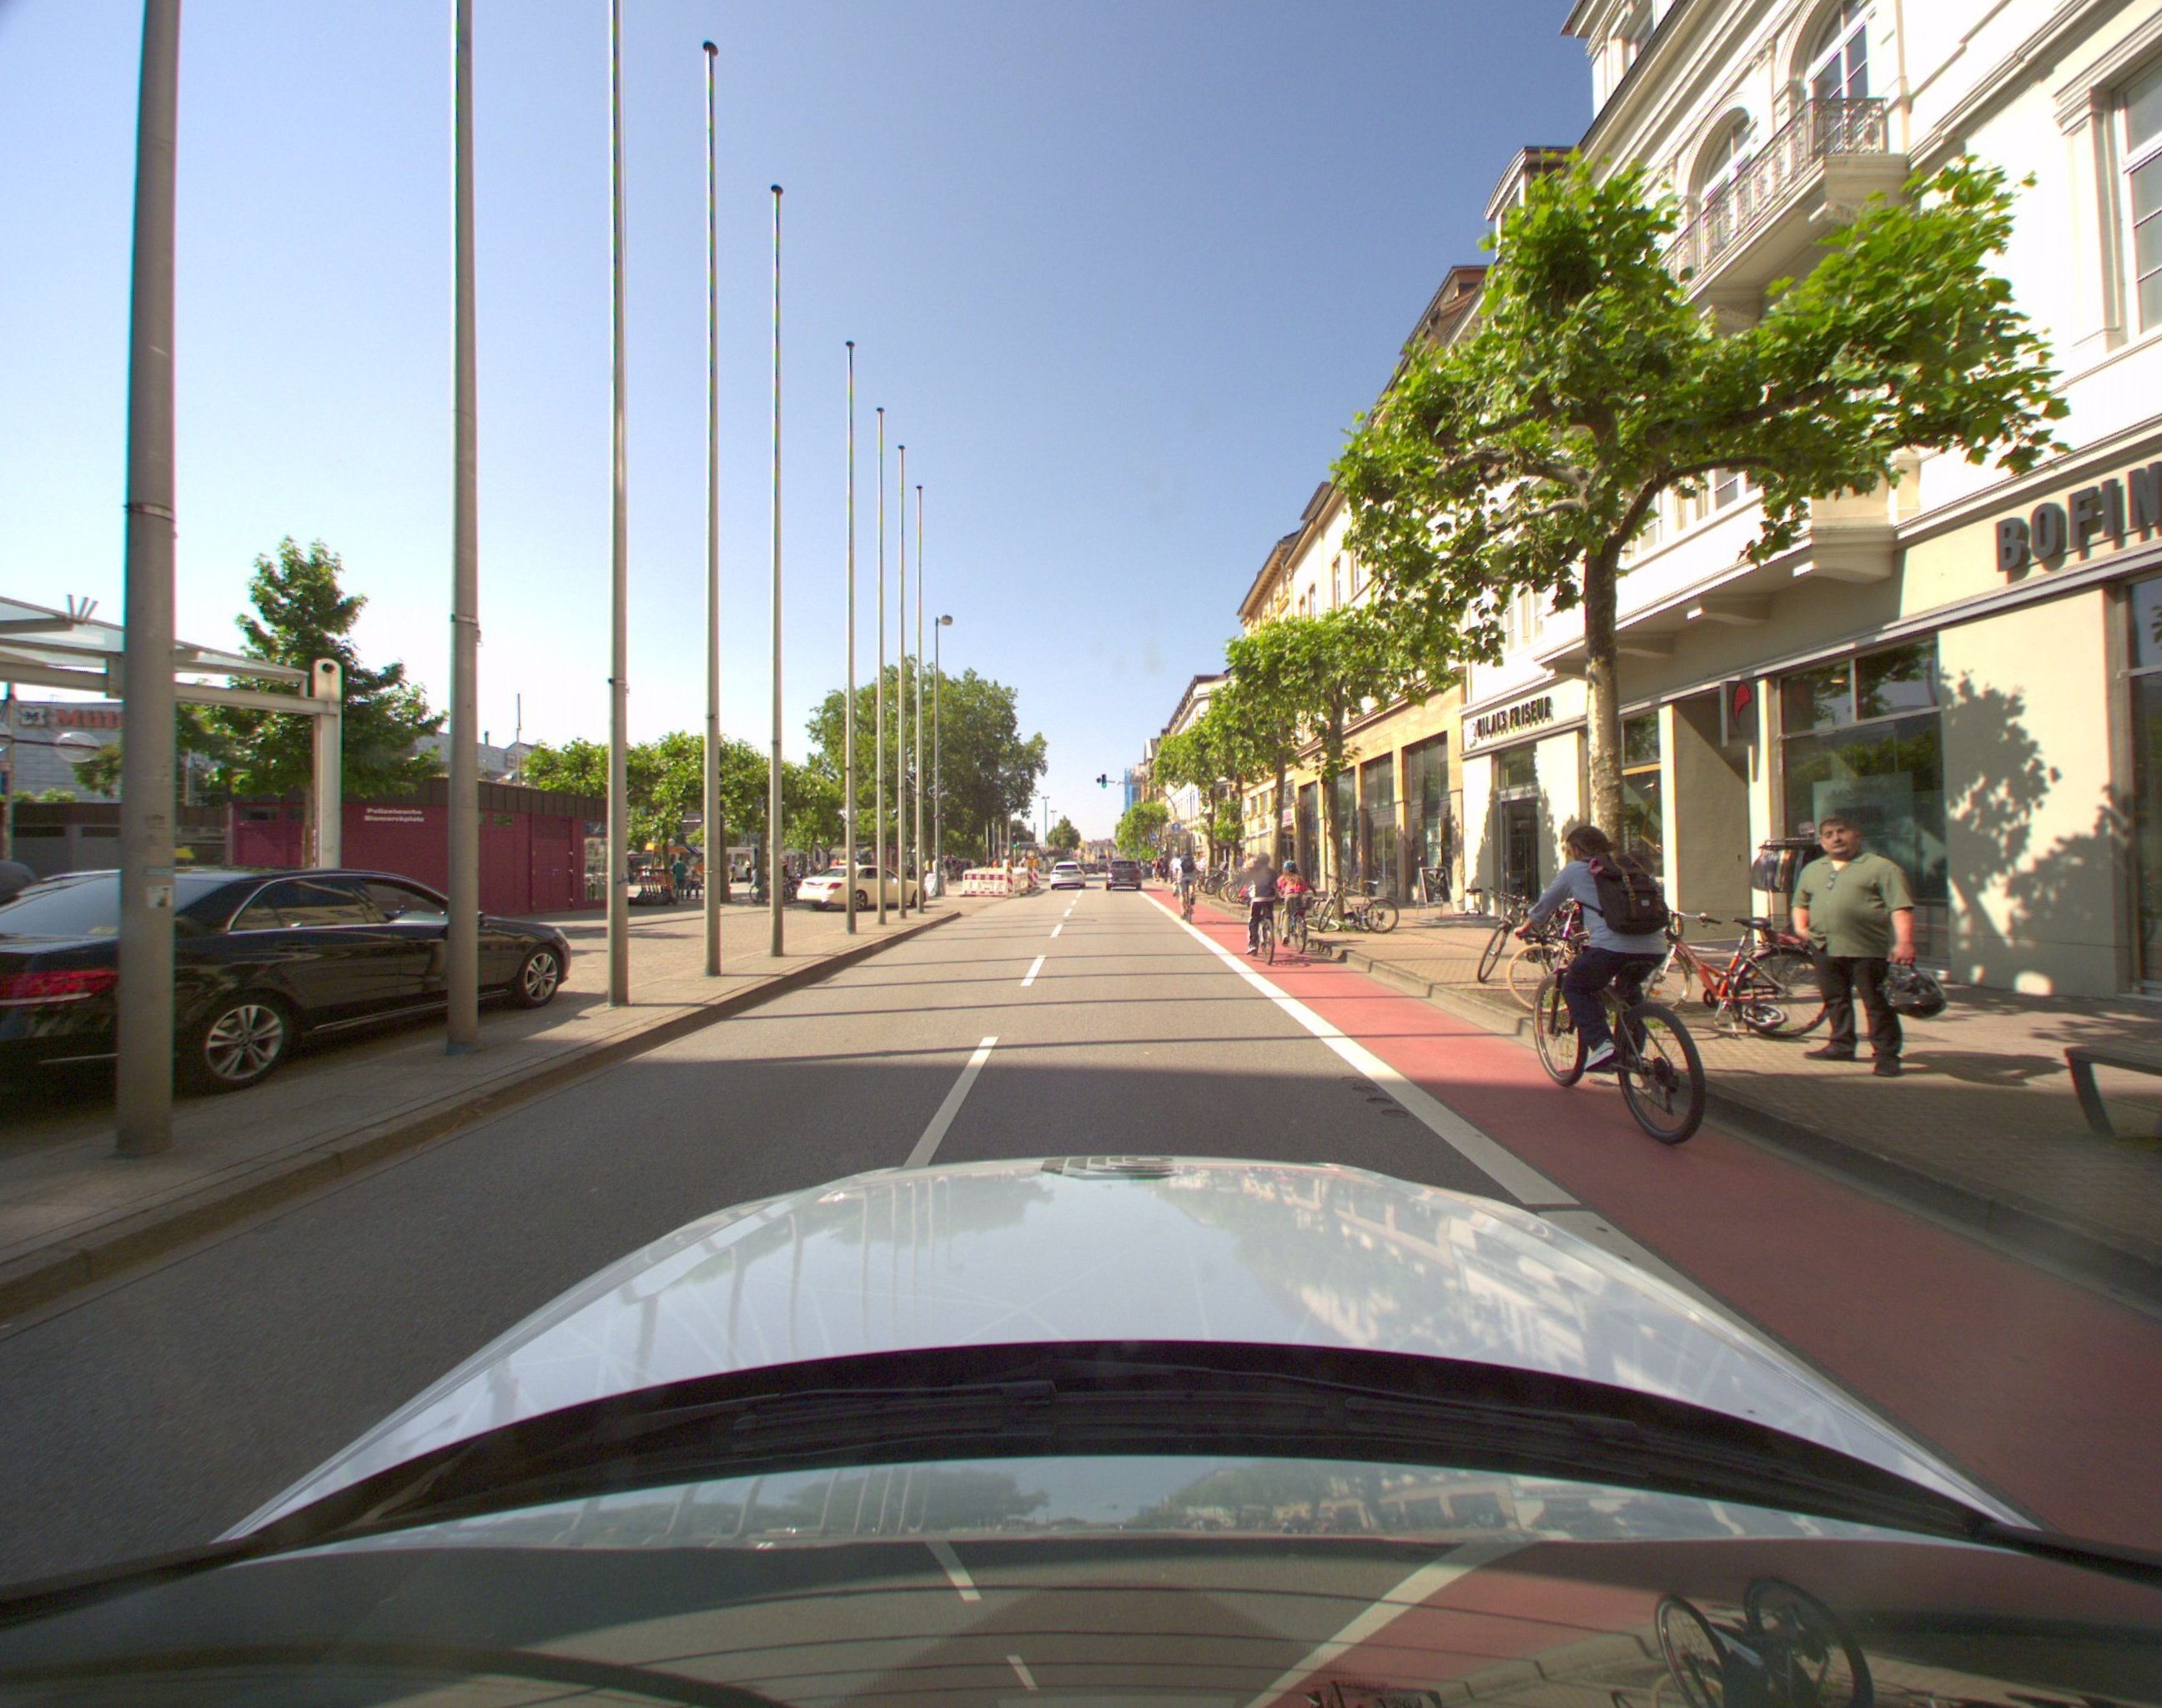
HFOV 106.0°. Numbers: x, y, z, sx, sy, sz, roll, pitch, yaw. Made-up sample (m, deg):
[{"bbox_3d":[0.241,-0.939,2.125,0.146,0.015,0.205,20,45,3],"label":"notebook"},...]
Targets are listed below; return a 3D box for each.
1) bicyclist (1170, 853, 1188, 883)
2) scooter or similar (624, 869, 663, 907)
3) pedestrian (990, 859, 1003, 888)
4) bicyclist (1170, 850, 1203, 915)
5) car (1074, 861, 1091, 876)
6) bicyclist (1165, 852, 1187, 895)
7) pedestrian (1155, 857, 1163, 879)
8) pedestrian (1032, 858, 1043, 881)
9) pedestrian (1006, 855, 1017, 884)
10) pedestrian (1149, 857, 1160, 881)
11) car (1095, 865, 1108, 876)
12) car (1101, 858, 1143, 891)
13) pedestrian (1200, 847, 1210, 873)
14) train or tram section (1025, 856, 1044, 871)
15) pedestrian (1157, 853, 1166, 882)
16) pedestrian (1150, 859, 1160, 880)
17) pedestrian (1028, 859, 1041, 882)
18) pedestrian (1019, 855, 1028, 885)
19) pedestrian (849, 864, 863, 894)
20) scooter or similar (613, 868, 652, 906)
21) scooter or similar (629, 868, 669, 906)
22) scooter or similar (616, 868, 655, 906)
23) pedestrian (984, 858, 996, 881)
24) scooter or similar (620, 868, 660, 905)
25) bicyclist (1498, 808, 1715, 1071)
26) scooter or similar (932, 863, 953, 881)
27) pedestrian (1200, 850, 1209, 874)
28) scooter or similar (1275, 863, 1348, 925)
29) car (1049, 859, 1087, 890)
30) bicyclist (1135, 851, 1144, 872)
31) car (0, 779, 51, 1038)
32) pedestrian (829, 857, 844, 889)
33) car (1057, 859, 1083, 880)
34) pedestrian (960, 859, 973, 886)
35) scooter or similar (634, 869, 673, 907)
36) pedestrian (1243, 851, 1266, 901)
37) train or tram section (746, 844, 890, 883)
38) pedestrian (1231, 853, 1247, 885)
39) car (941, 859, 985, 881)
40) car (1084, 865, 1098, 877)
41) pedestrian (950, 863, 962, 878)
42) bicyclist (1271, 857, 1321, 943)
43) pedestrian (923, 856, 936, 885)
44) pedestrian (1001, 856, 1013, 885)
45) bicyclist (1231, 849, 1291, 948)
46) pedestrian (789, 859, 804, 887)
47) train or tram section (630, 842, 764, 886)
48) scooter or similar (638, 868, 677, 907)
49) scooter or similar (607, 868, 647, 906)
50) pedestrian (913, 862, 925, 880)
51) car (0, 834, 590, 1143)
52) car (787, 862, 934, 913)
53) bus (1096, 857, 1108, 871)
[{"bbox_3d":[5.886,0.840,48.869,0.577,1.797,0.848,-2,0,-34],"label":"bicyclist"},{"bbox_3d":[-14.448,1.095,26.926,0.231,1.214,1.310,0,-1,21],"label":"scooter or similar"},{"bbox_3d":[-5.157,1.189,49.578,0.543,1.718,0.600,2,-2,-30],"label":"pedestrian"},{"bbox_3d":[2.502,0.669,19.393,0.628,1.481,1.198,0,-1,0],"label":"bicyclist"},{"bbox_3d":[0.189,1.554,89.208,1.839,1.560,4.000,-1,-1,0],"label":"car"},{"bbox_3d":[3.696,0.749,31.819,0.771,1.635,0.851,-1,-1,1],"label":"bicyclist"},{"bbox_3d":[6.359,1.127,66.405,0.608,1.824,0.677,0,-1,-1],"label":"pedestrian"},{"bbox_3d":[-3.608,1.283,67.676,0.626,1.834,0.735,-1,-2,30],"label":"pedestrian"},{"bbox_3d":[-4.193,0.939,49.110,0.431,1.740,0.600,2,-2,-30],"label":"pedestrian"},{"bbox_3d":[5.653,1.141,62.459,0.608,1.739,0.677,-5,-1,-1],"label":"pedestrian"},{"bbox_3d":[3.195,2.532,127.741,1.840,1.668,3.996,1,0,-3],"label":"car"},{"bbox_3d":[2.047,1.008,41.384,1.840,1.559,3.998,1,0,-1],"label":"car"},{"bbox_3d":[8.085,0.385,53.294,0.546,1.640,0.589,-2,-2,4],"label":"pedestrian"},{"bbox_3d":[-10.383,2.145,182.671,2.601,3.348,11.015,0,-1,5],"label":"train or tram section"},{"bbox_3d":[5.369,0.906,54.453,0.520,1.898,0.642,-2,-2,4],"label":"pedestrian"},{"bbox_3d":[5.429,1.157,59.753,0.608,1.515,0.677,-5,-1,-1],"label":"pedestrian"},{"bbox_3d":[-3.279,1.190,57.164,0.627,1.595,0.690,-1,-2,22],"label":"pedestrian"},{"bbox_3d":[-3.760,1.048,53.548,0.529,1.919,0.560,-1,-1,3],"label":"pedestrian"},{"bbox_3d":[-13.460,1.496,48.655,0.573,1.739,0.607,1,-1,7],"label":"pedestrian"},{"bbox_3d":[-15.067,1.097,27.369,0.231,1.214,1.310,0,-1,21],"label":"scooter or similar"},{"bbox_3d":[-14.221,1.087,26.846,0.231,1.214,1.310,0,-1,21],"label":"scooter or similar"},{"bbox_3d":[-14.875,1.088,27.202,0.231,1.214,1.310,0,-1,21],"label":"scooter or similar"},{"bbox_3d":[-7.019,1.193,62.917,0.627,1.810,0.735,-1,-2,22],"label":"pedestrian"},{"bbox_3d":[-14.651,1.062,27.074,0.231,1.214,1.310,0,-1,21],"label":"scooter or similar"},{"bbox_3d":[3.166,0.481,4.998,0.696,1.446,0.960,1,-1,-2],"label":"bicyclist"},{"bbox_3d":[-11.114,1.455,65.390,1.264,1.421,1.045,-1,-1,31],"label":"scooter or similar"},{"bbox_3d":[8.633,0.559,57.074,0.521,1.609,0.641,-2,-2,1],"label":"pedestrian"},{"bbox_3d":[4.964,0.849,17.596,1.465,1.274,0.672,1,-1,12],"label":"scooter or similar"},{"bbox_3d":[-0.682,1.070,44.172,1.839,1.560,4.001,-2,0,1],"label":"car"},{"bbox_3d":[4.405,0.568,61.696,0.645,1.551,0.817,0,-1,1],"label":"bicyclist"},{"bbox_3d":[-9.350,0.418,4.281,1.825,2.014,4.686,0,0,1],"label":"car"},{"bbox_3d":[-14.599,1.142,48.633,0.666,1.880,0.625,2,-2,-33],"label":"pedestrian"},{"bbox_3d":[-0.809,1.159,61.160,1.839,1.449,4.000,-1,0,0],"label":"car"},{"bbox_3d":[-7.800,1.280,55.588,0.627,1.859,0.690,-1,-2,22],"label":"pedestrian"},{"bbox_3d":[-14.014,1.108,26.735,0.231,1.214,1.310,0,-1,21],"label":"scooter or similar"},{"bbox_3d":[5.711,0.725,26.900,0.612,1.612,0.745,0,-1,2],"label":"pedestrian"},{"bbox_3d":[-26.705,0.934,84.133,2.587,3.677,15.646,-1,-1,36],"label":"train or tram section"},{"bbox_3d":[8.961,0.868,46.207,0.655,1.790,1.233,-1,-3,1],"label":"pedestrian"},{"bbox_3d":[-10.687,1.436,74.187,1.843,1.955,4.786,-1,-1,22],"label":"car"},{"bbox_3d":[1.273,2.220,106.520,1.839,1.413,4.000,-1,-1,0],"label":"car"},{"bbox_3d":[-9.885,1.303,64.430,0.627,1.144,0.669,-1,-1,22],"label":"pedestrian"},{"bbox_3d":[3.535,0.738,13.434,0.598,1.357,0.720,1,0,-2],"label":"bicyclist"},{"bbox_3d":[-9.483,1.029,50.894,0.581,1.721,0.790,-1,2,3],"label":"pedestrian"},{"bbox_3d":[-4.564,1.043,50.267,0.536,1.780,0.607,1,-1,7],"label":"pedestrian"},{"bbox_3d":[2.704,0.658,12.300,0.696,1.441,0.790,1,-1,-2],"label":"bicyclist"},{"bbox_3d":[-15.624,1.044,44.734,0.573,1.532,0.607,1,-1,7],"label":"pedestrian"},{"bbox_3d":[-34.368,0.858,73.564,2.587,3.677,11.071,-1,-1,36],"label":"train or tram section"},{"bbox_3d":[-13.808,1.084,26.584,0.231,1.214,1.310,0,-1,21],"label":"scooter or similar"},{"bbox_3d":[-15.299,1.100,27.473,0.262,1.214,1.310,0,-1,21],"label":"scooter or similar"},{"bbox_3d":[-12.954,1.356,65.091,0.627,1.479,0.735,-1,-2,22],"label":"pedestrian"},{"bbox_3d":[-6.288,0.719,6.577,1.755,1.600,4.709,0,0,0],"label":"car"},{"bbox_3d":[-7.198,1.057,27.157,1.873,1.542,4.891,0,-1,28],"label":"car"},{"bbox_3d":[5.858,2.813,226.728,2.985,3.594,11.743,0,-1,1],"label":"bus"}]
